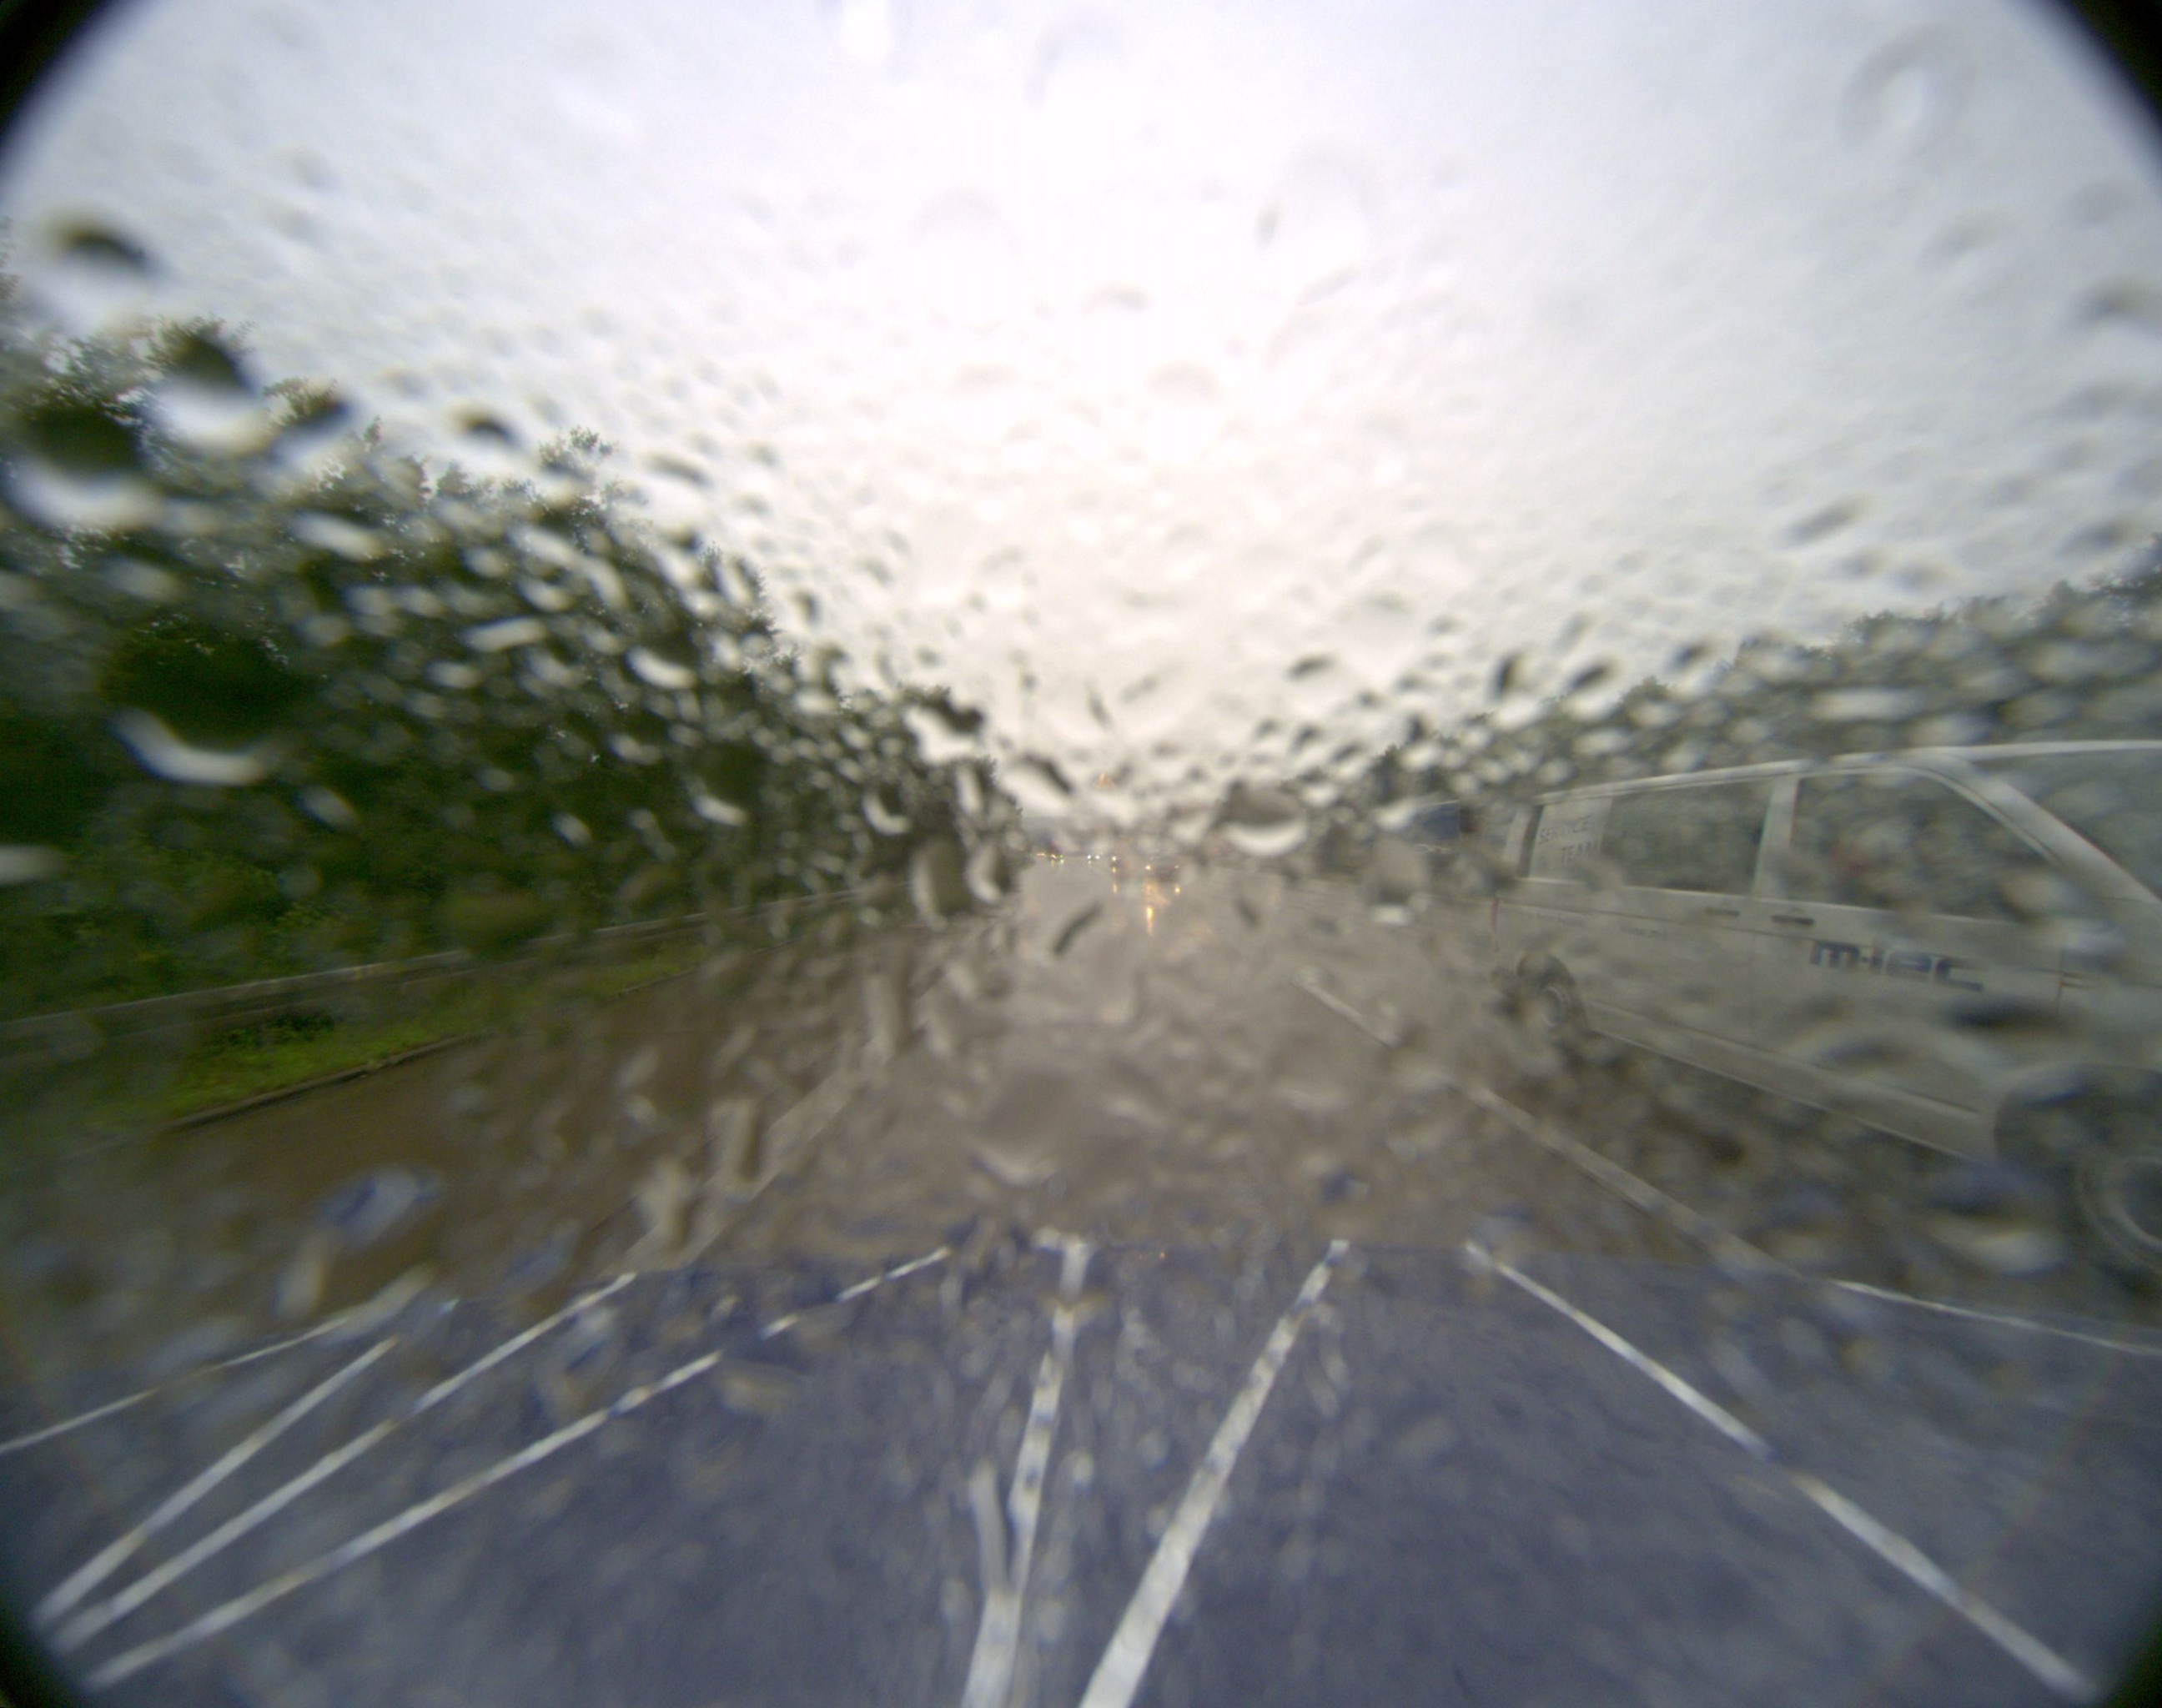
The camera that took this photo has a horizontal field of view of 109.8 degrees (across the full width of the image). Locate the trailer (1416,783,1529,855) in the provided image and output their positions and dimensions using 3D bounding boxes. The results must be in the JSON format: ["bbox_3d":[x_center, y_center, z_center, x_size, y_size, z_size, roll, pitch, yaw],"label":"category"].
[{"bbox_3d":[24.965,-2.108,49.081,2.855,4.130,8.524,-3,1,0],"label":"trailer"}]

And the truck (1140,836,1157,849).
[{"bbox_3d":[17.632,-2.978,199.422,2.781,3.296,11.512,-3,0,-2],"label":"truck"}]

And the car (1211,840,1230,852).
[{"bbox_3d":[20.075,-1.139,109.349,1.757,1.523,5.270,-3,0,0],"label":"car"}]

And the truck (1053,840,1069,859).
[{"bbox_3d":[-4.615,-0.872,174.025,3.058,3.994,10.045,0,-2,2],"label":"truck"}]

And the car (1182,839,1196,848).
[{"bbox_3d":[18.779,-1.841,132.290,1.757,1.331,4.424,-3,0,0],"label":"car"}]

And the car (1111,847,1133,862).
[{"bbox_3d":[3.894,0.021,72.758,1.934,1.426,4.517,1,1,0],"label":"car"}]

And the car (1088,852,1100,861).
[{"bbox_3d":[2.259,0.395,127.630,1.934,1.426,4.518,1,1,1],"label":"car"}]

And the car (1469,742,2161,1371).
[{"bbox_3d":[4.146,0.579,3.644,1.904,1.883,5.042,-1,0,-1],"label":"car"}]

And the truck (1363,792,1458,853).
[{"bbox_3d":[25.032,-2.255,58.491,2.855,4.130,10.177,-3,0,0],"label":"truck"}]

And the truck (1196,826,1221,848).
[{"bbox_3d":[22.791,-2.977,136.322,2.591,3.679,9.798,-3,0,-1],"label":"truck"}]

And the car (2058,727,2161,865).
[{"bbox_3d":[21.007,-1.106,11.799,2.188,2.552,7.445,-3,0,2],"label":"car"}]

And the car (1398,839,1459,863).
[{"bbox_3d":[21.593,-0.213,47.397,1.757,1.331,4.424,-3,0,0],"label":"car"}]

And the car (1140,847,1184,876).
[{"bbox_3d":[4.216,0.347,40.024,1.934,1.426,4.518,1,1,1],"label":"car"}]

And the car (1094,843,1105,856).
[{"bbox_3d":[3.630,-0.921,151.201,2.045,2.616,6.403,1,1,0],"label":"car"}]
